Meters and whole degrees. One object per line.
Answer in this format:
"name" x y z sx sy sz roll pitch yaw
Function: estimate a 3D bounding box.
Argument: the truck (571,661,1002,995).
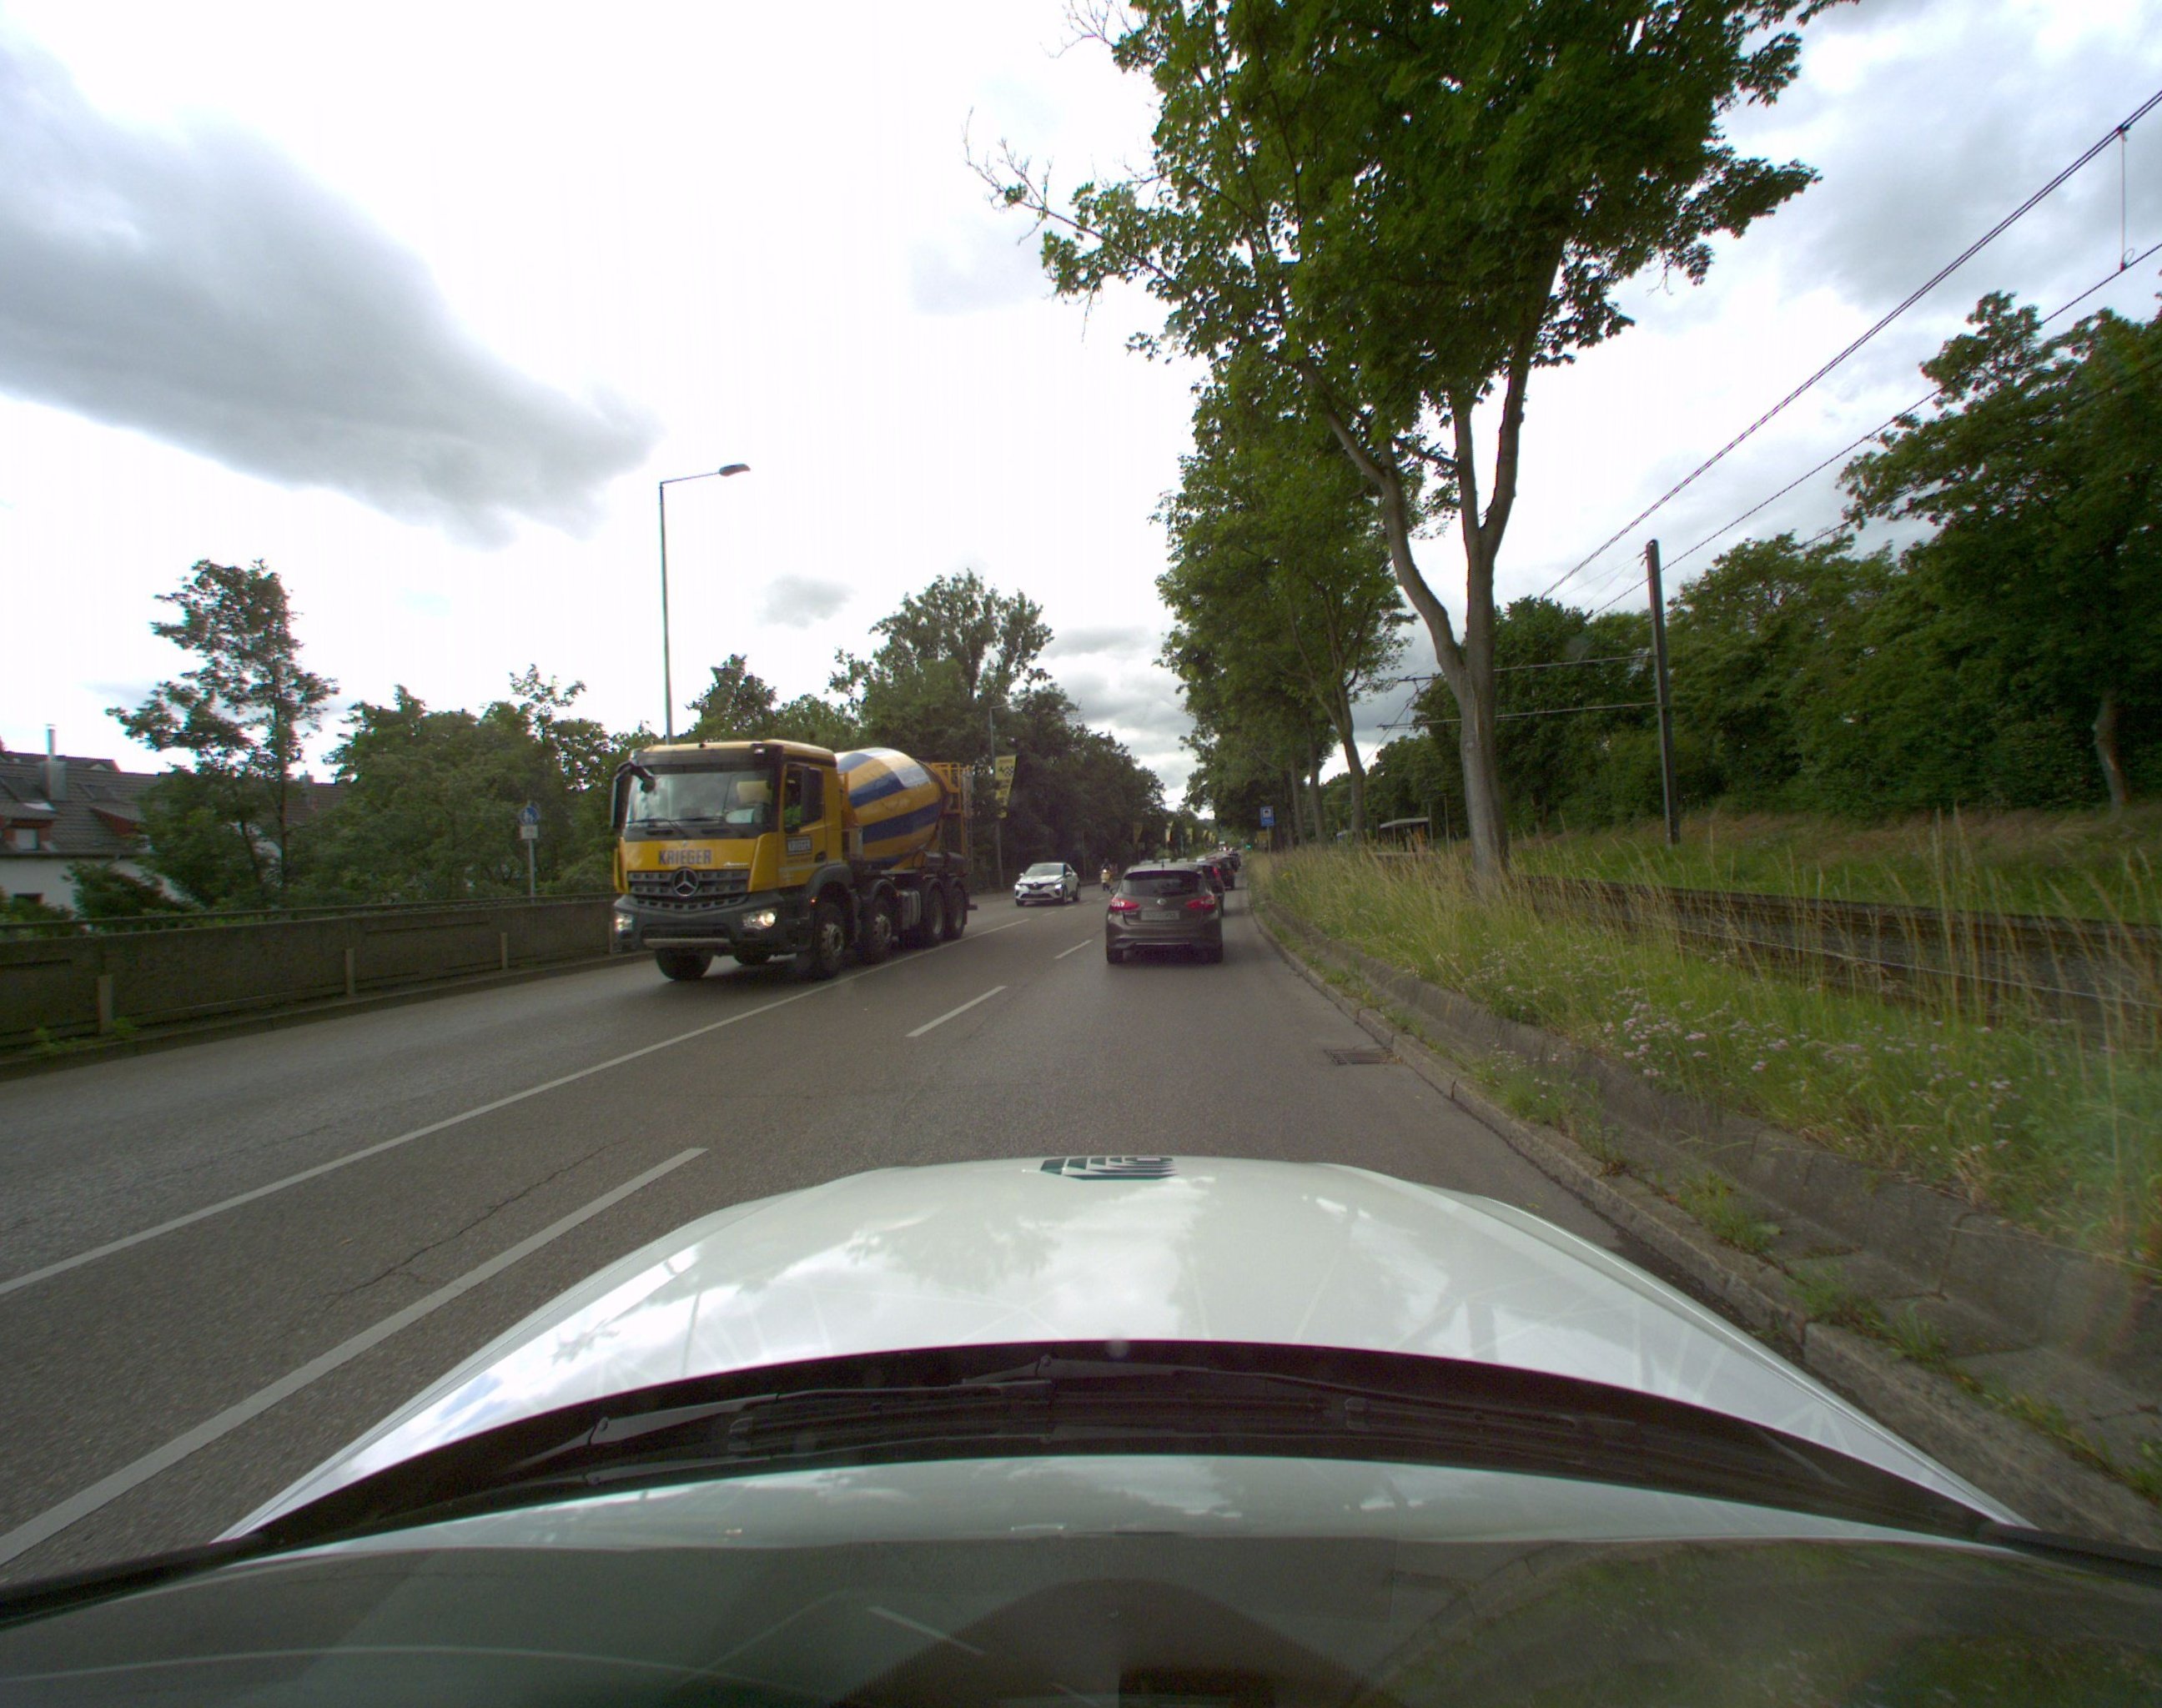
"truck" -4.094 -0.243 14.806 2.639 3.939 10.137 -2 -1 9

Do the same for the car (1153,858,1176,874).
"car" 8.296 1.216 80.848 1.805 1.462 4.013 -3 -1 12

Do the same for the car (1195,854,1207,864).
"car" 21.076 0.897 142.889 1.707 1.693 3.736 -3 -3 10

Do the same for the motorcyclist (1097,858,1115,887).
"motorcyclist" 1.325 0.973 43.274 0.739 1.539 0.793 -2 -1 12

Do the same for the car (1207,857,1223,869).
"car" 18.609 1.220 112.779 1.839 1.486 4.435 -3 -2 12

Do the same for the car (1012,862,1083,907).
"car" -1.174 1.094 30.428 1.756 1.479 4.011 -2 -1 10

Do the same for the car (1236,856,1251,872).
"car" 21.575 1.285 107.987 1.878 2.014 4.013 -2 -1 11

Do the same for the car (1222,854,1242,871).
"car" 14.305 0.855 77.094 1.793 1.540 4.012 -1 -2 11

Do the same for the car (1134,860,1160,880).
"car" 5.535 1.349 67.950 1.710 1.442 4.011 -3 -3 11

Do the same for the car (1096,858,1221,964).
"car" 1.299 0.885 13.714 1.766 1.494 4.005 -1 -2 5

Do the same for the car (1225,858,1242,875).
"car" 16.865 1.423 90.068 1.707 1.693 4.011 -3 -3 10

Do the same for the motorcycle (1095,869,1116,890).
"motorcycle" 1.328 1.361 43.237 0.739 1.033 1.894 -2 -1 12

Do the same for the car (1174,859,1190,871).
"car" 13.334 1.481 107.399 1.741 1.420 4.010 -3 -3 10

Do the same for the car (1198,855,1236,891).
"car" 6.437 0.918 38.927 1.569 1.538 4.008 -3 -2 7

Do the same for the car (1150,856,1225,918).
"car" 3.000 0.932 23.568 1.884 1.574 4.004 -2 -2 4
